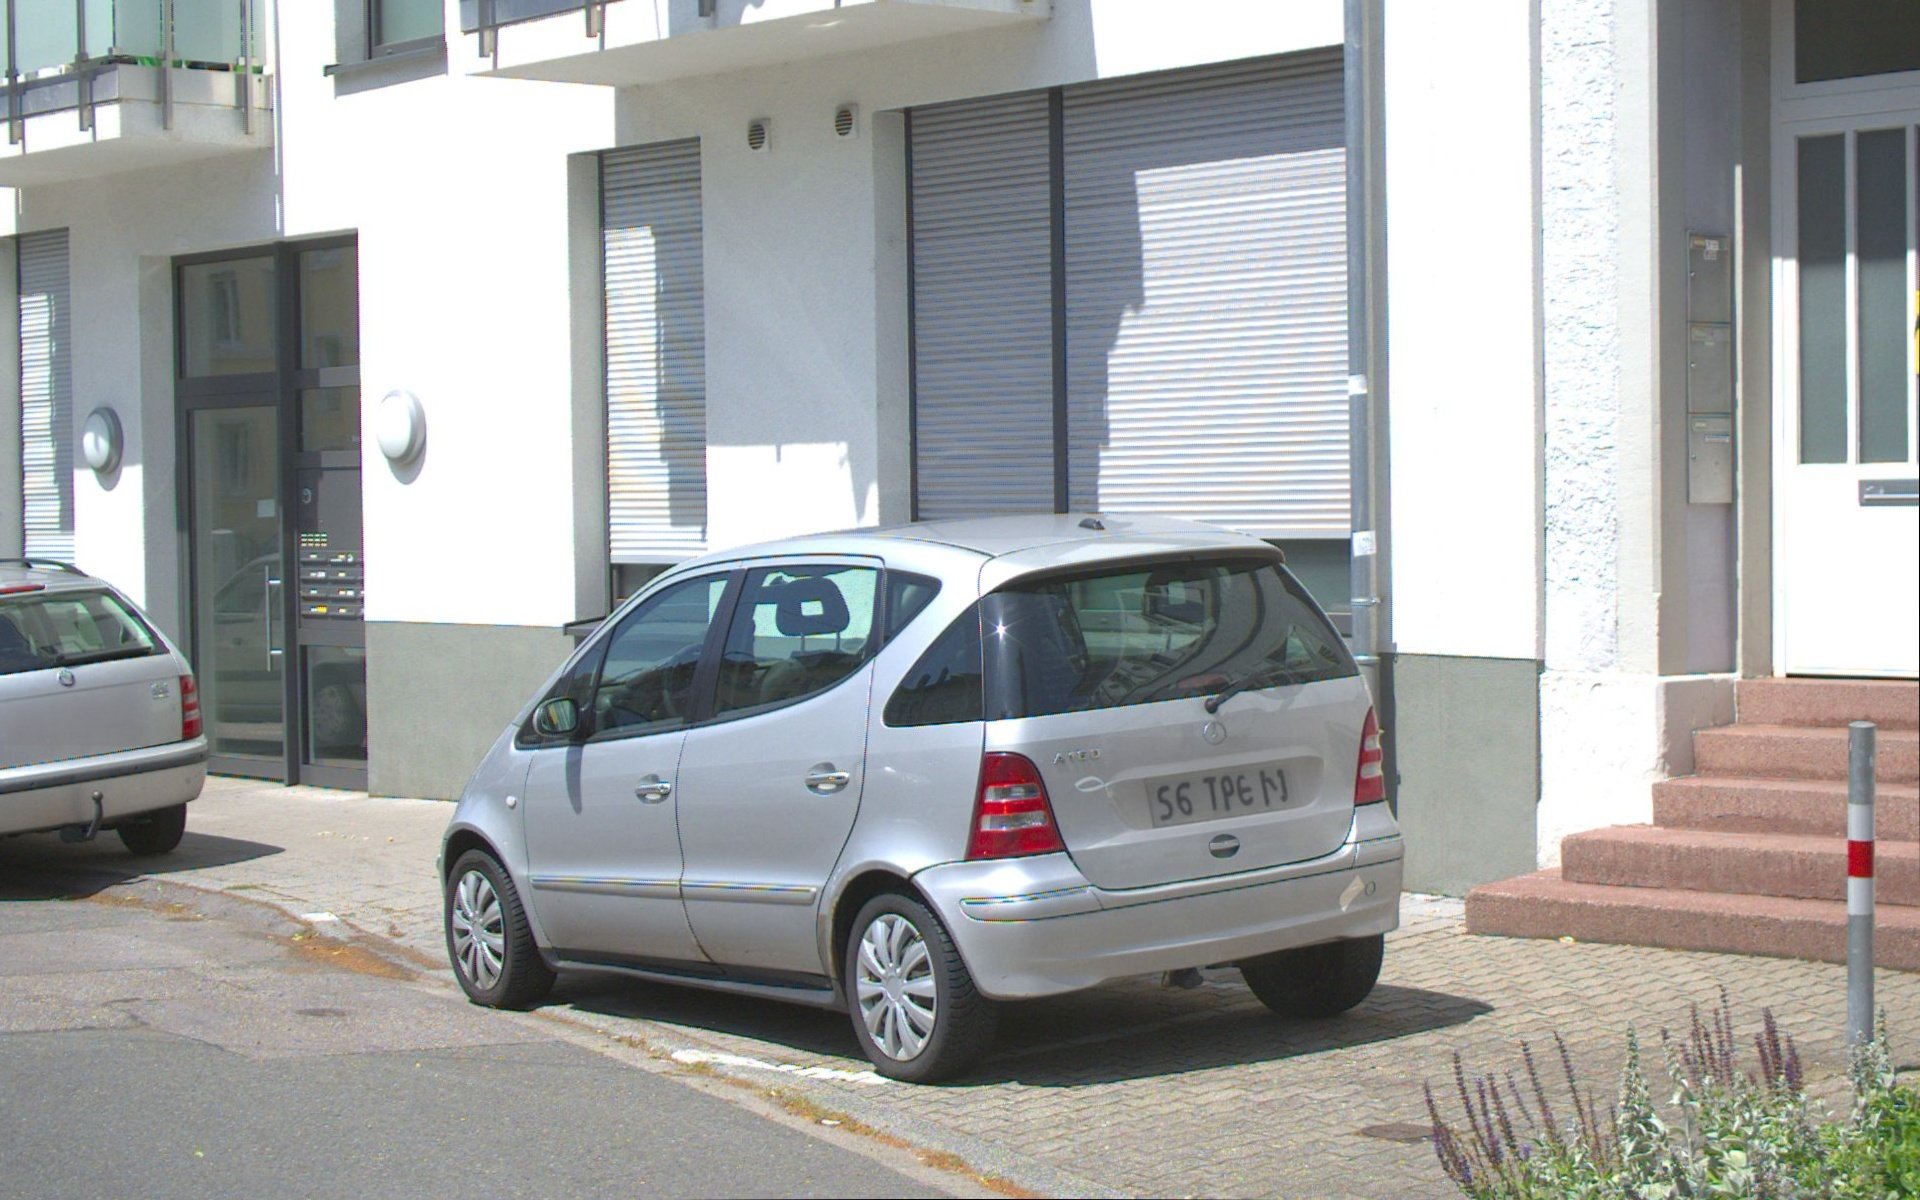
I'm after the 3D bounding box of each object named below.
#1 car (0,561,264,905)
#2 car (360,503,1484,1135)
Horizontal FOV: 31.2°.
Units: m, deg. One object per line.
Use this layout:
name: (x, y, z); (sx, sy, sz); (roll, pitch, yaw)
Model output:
car: (-5.247, 0.592, 17.157); (1.727, 1.428, 4.041); (-7, 5, -38)
car: (-0.290, 0.567, 11.216); (1.727, 1.605, 3.799); (-5, 3, -35)
